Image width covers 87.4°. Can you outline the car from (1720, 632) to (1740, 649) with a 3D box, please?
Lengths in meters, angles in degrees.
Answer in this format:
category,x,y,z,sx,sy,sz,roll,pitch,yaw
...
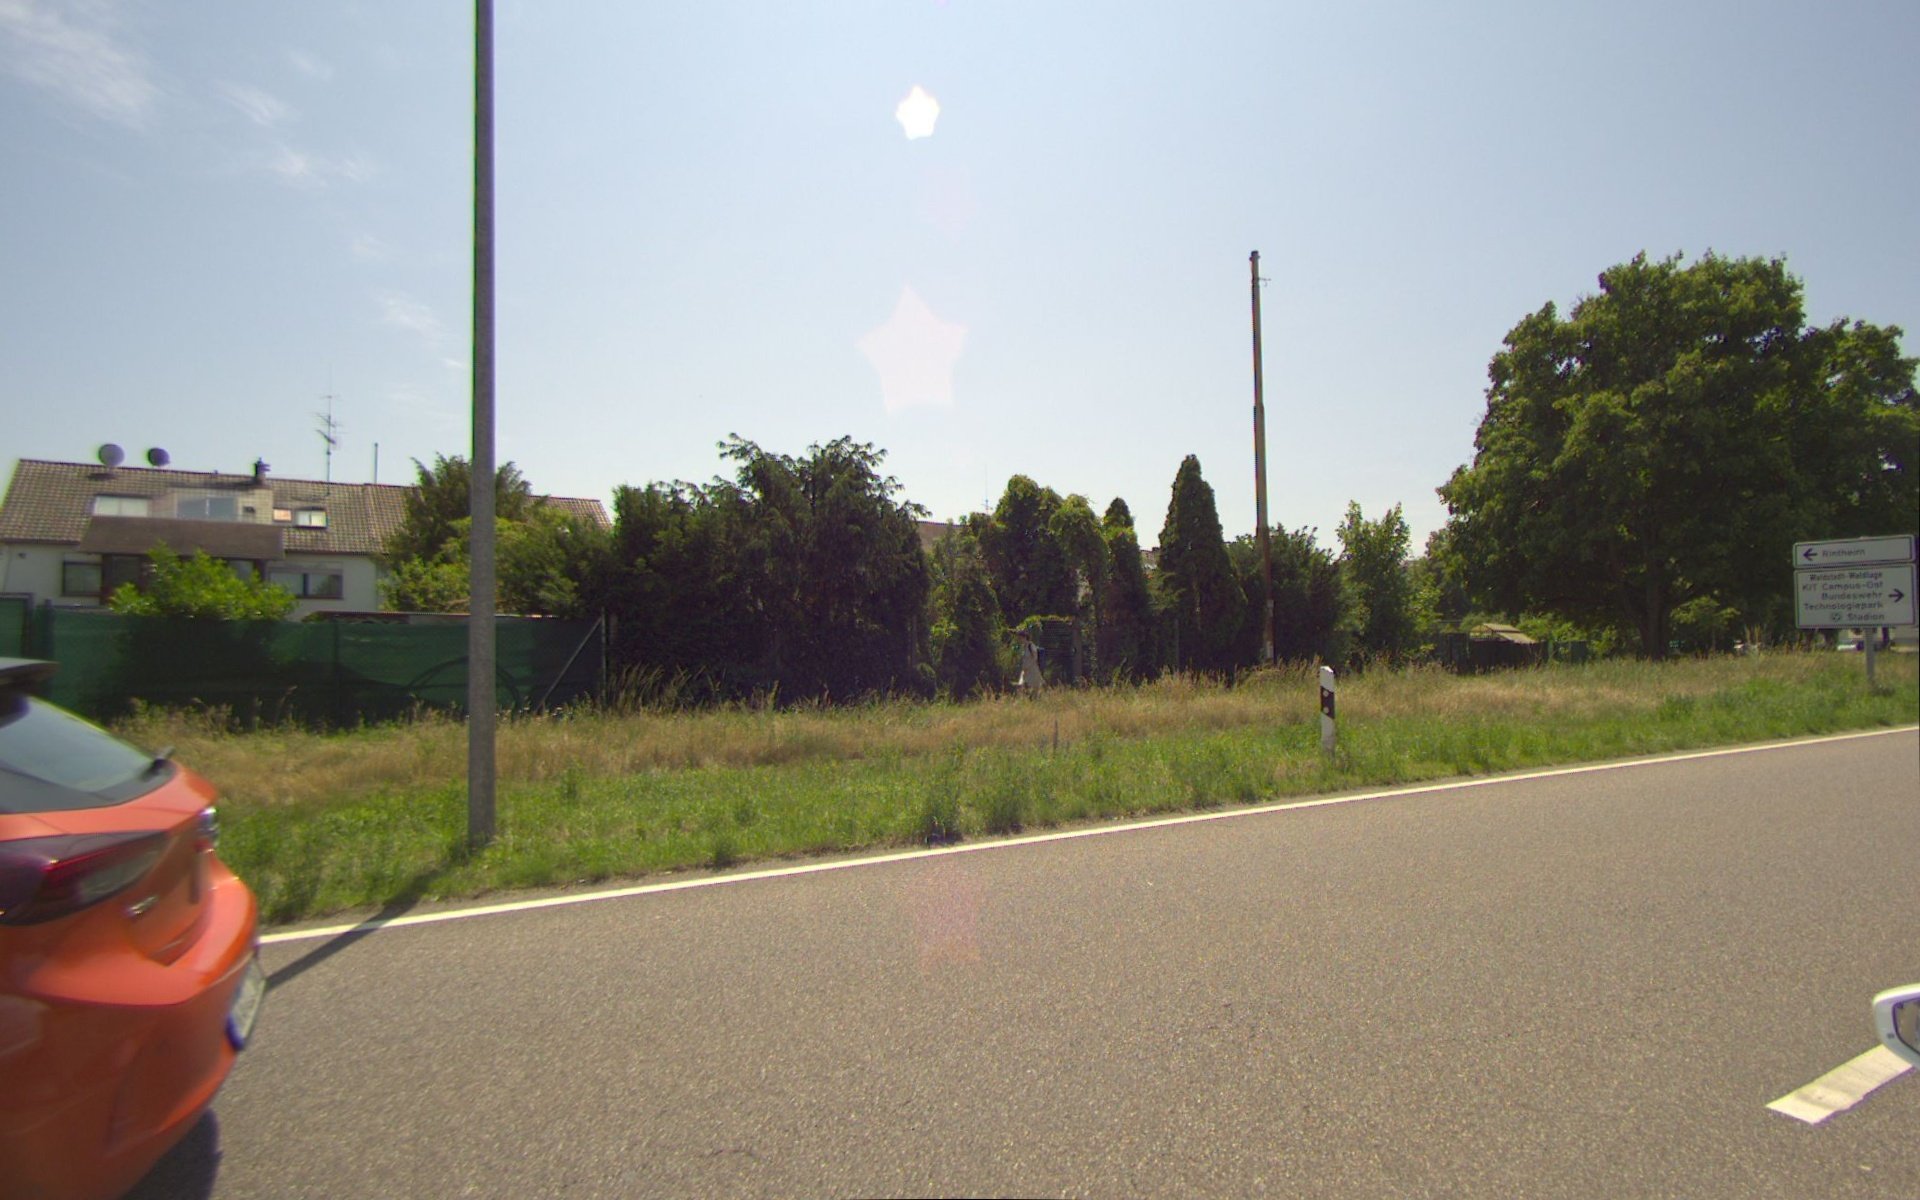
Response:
category,x,y,z,sx,sy,sz,roll,pitch,yaw
car,92.414,4.833,120.564,1.824,1.973,3.982,-1,-2,39

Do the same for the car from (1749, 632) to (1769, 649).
category,x,y,z,sx,sy,sz,roll,pitch,yaw
car,94.171,4.771,118.386,1.824,1.973,3.982,-1,-2,39

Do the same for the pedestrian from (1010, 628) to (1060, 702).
category,x,y,z,sx,sy,sz,roll,pitch,yaw
pedestrian,1.443,1.237,19.334,0.789,1.373,0.578,0,-1,-30

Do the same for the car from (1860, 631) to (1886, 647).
category,x,y,z,sx,sy,sz,roll,pitch,yaw
car,102.573,4.364,112.872,1.824,1.734,3.982,-1,-1,39

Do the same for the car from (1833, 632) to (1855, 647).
category,x,y,z,sx,sy,sz,roll,pitch,yaw
car,100.436,4.469,114.153,1.668,1.583,3.821,-3,-3,39

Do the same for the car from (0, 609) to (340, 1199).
category,x,y,z,sx,sy,sz,roll,pitch,yaw
car,-3.479,0.726,1.788,3.952,1.417,1.671,1,-1,-30
